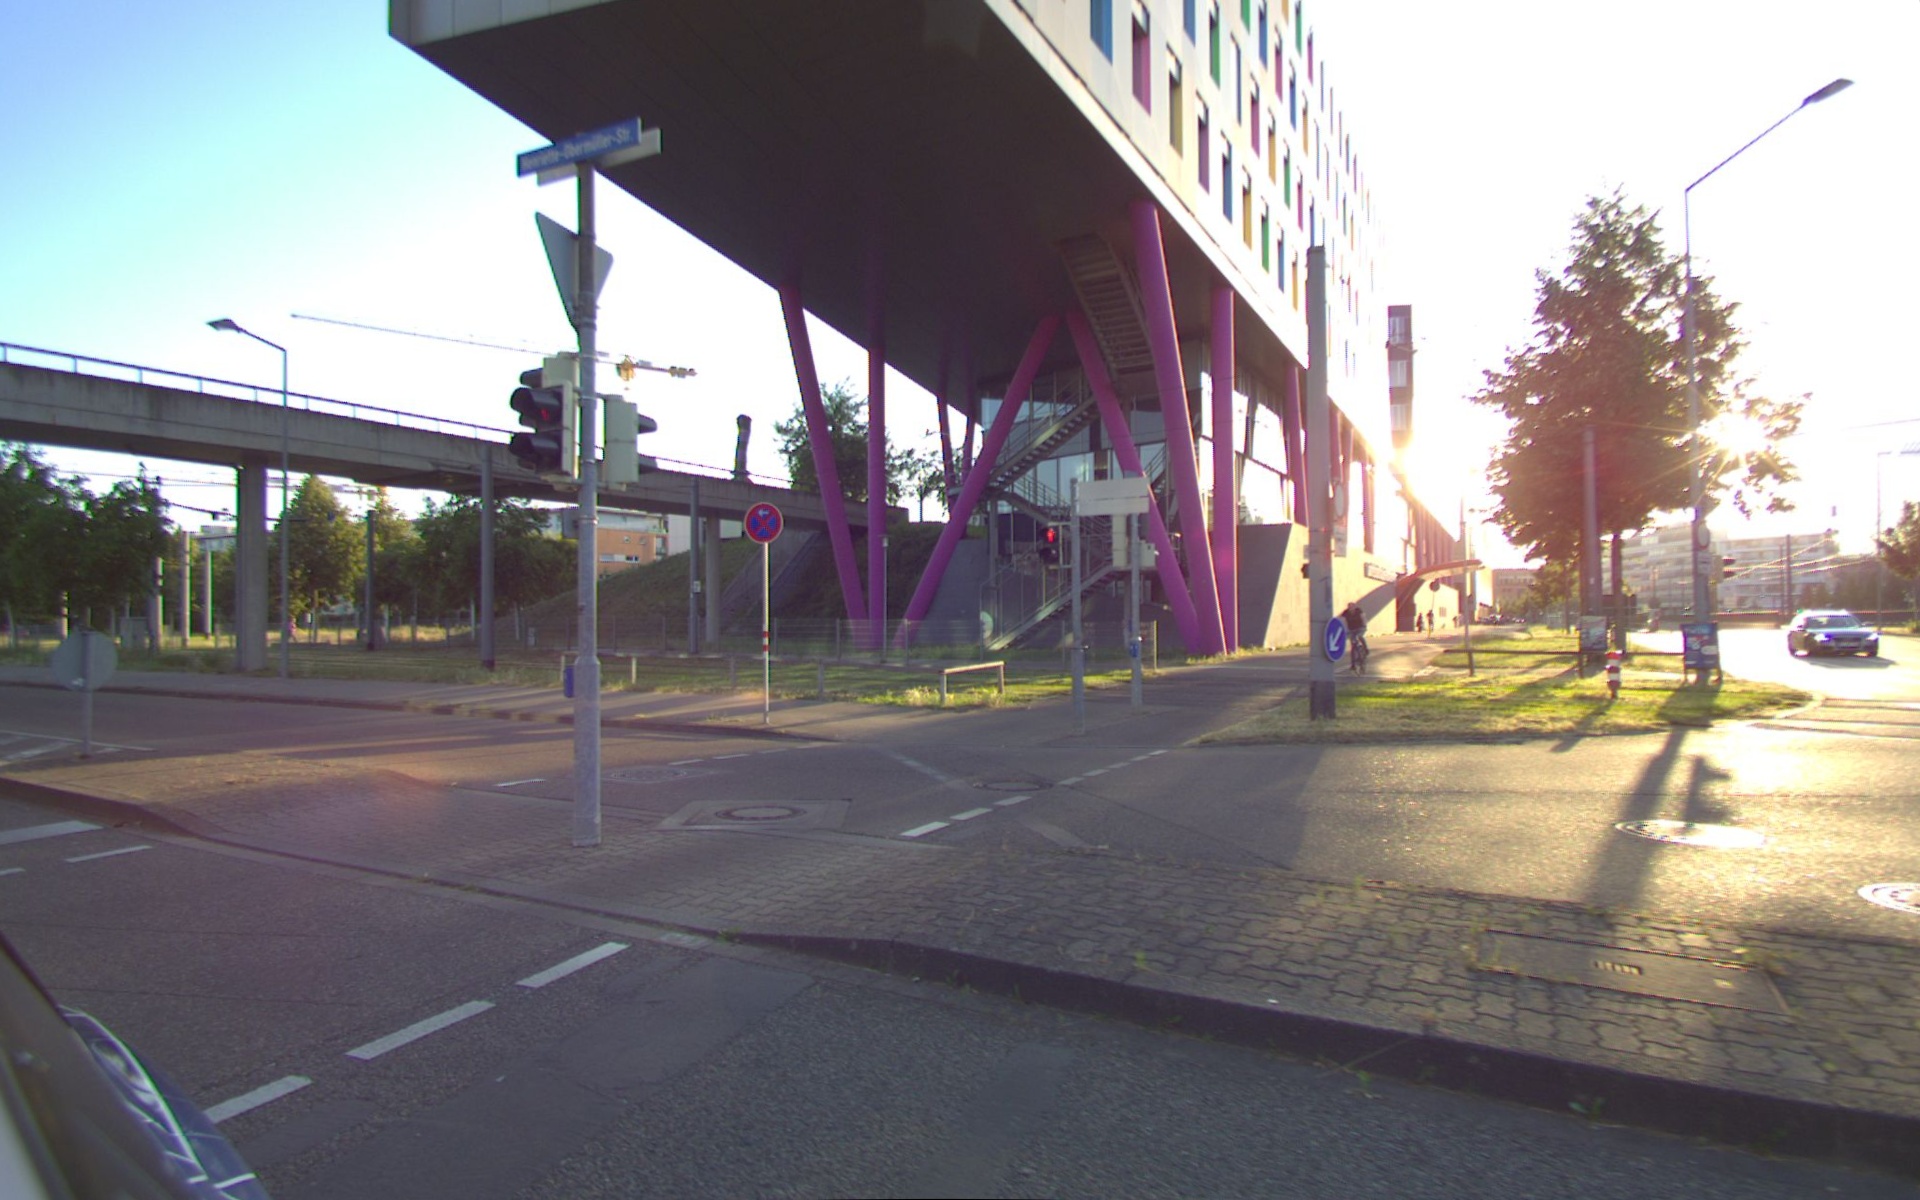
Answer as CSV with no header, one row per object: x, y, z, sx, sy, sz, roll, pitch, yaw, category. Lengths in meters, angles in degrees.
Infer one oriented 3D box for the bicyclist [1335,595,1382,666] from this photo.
9.517,0.730,24.127,0.805,1.645,1.274,-2,-2,32,bicyclist

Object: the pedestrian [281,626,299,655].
-37.766,2.261,57.078,0.417,1.623,0.769,-2,-2,43,pedestrian

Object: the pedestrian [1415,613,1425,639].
36.385,2.068,80.057,0.616,2.029,0.804,-1,-1,30,pedestrian

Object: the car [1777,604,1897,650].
28.659,0.884,33.220,1.990,1.431,3.964,-2,-2,26,car

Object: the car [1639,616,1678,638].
55.873,2.178,81.010,1.990,1.719,3.962,-2,-2,28,car

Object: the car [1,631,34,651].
-83.592,3.605,89.742,3.844,1.734,1.846,-2,-2,43,car

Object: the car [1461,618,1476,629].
69.486,3.239,138.286,1.712,1.510,3.959,-2,-2,30,car

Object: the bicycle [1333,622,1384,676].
9.482,1.139,24.045,0.741,1.216,2.087,-2,-2,32,bicycle

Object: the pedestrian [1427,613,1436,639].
37.145,2.063,79.749,0.616,2.029,0.804,-1,-1,30,pedestrian
